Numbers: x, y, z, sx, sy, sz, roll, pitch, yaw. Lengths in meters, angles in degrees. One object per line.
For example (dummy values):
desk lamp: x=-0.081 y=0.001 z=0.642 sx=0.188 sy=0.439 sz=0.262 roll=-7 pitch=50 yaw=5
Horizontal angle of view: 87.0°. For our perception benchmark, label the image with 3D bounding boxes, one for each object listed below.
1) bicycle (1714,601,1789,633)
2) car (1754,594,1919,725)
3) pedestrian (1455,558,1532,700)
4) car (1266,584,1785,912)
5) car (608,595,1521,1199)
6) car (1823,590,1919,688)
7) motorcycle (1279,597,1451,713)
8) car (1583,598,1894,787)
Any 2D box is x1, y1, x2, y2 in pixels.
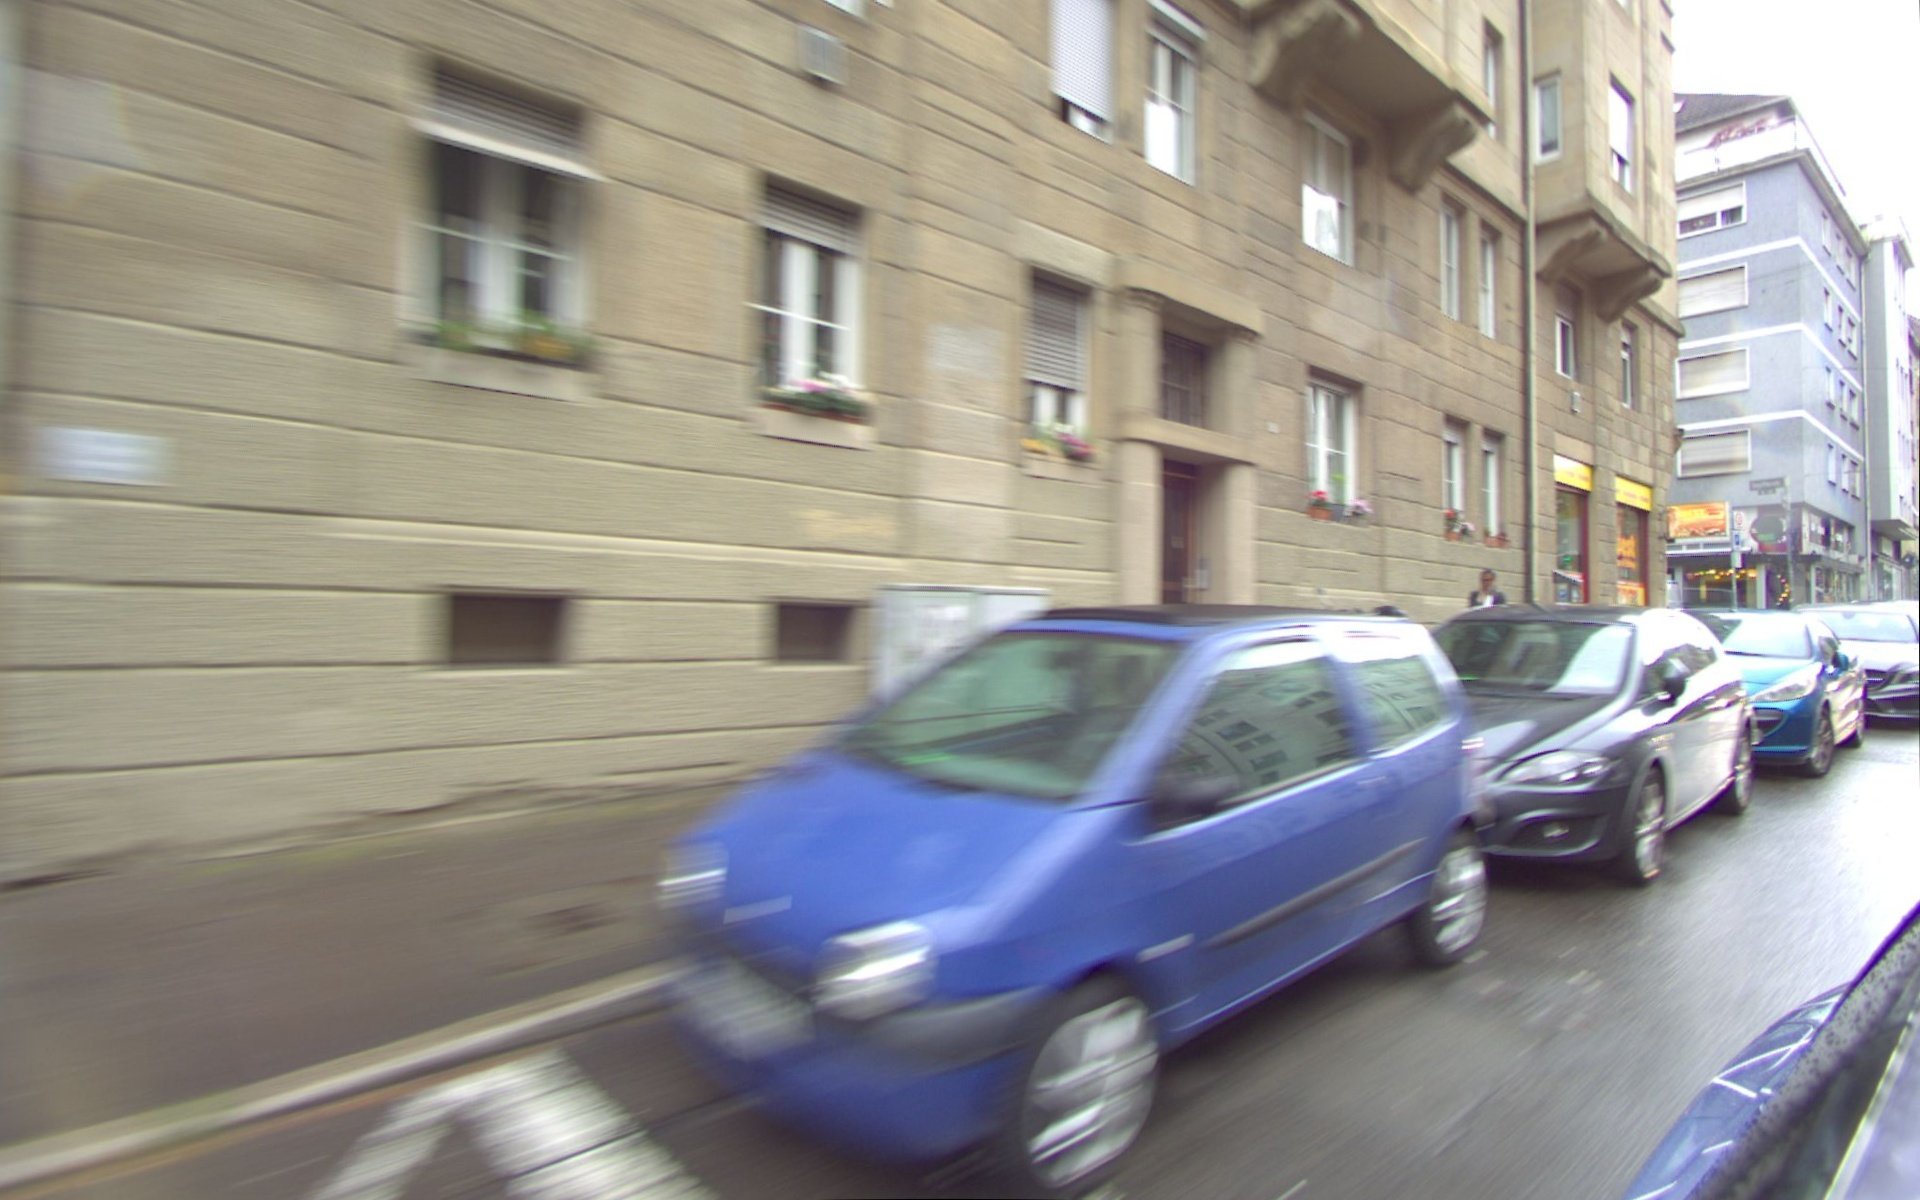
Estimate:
bicycle: x=24.661 y=0.522 z=31.549 sx=0.524 sy=0.985 sz=1.752 roll=0 pitch=0 yaw=-39
car: x=11.793 y=0.649 z=13.139 sx=4.412 sy=1.404 sz=1.756 roll=0 pitch=2 yaw=-44
pedestrian: x=6.085 y=0.318 z=11.536 sx=0.697 sy=1.555 sz=0.562 roll=0 pitch=0 yaw=-41
car: x=3.859 y=0.654 z=6.592 sx=4.014 sy=1.481 sz=1.790 roll=0 pitch=0 yaw=-42
car: x=0.644 y=0.702 z=3.779 sx=3.387 sy=1.433 sz=1.546 roll=0 pitch=0 yaw=-42
car: x=15.867 y=0.594 z=16.871 sx=3.723 sy=1.462 sz=1.674 roll=0 pitch=2 yaw=-41
motorcycle: x=4.779 y=0.573 z=11.805 sx=2.698 sy=1.214 sz=0.706 roll=0 pitch=0 yaw=-41
car: x=7.552 y=0.698 z=9.677 sx=3.950 sy=1.416 sz=1.709 roll=0 pitch=0 yaw=-42
